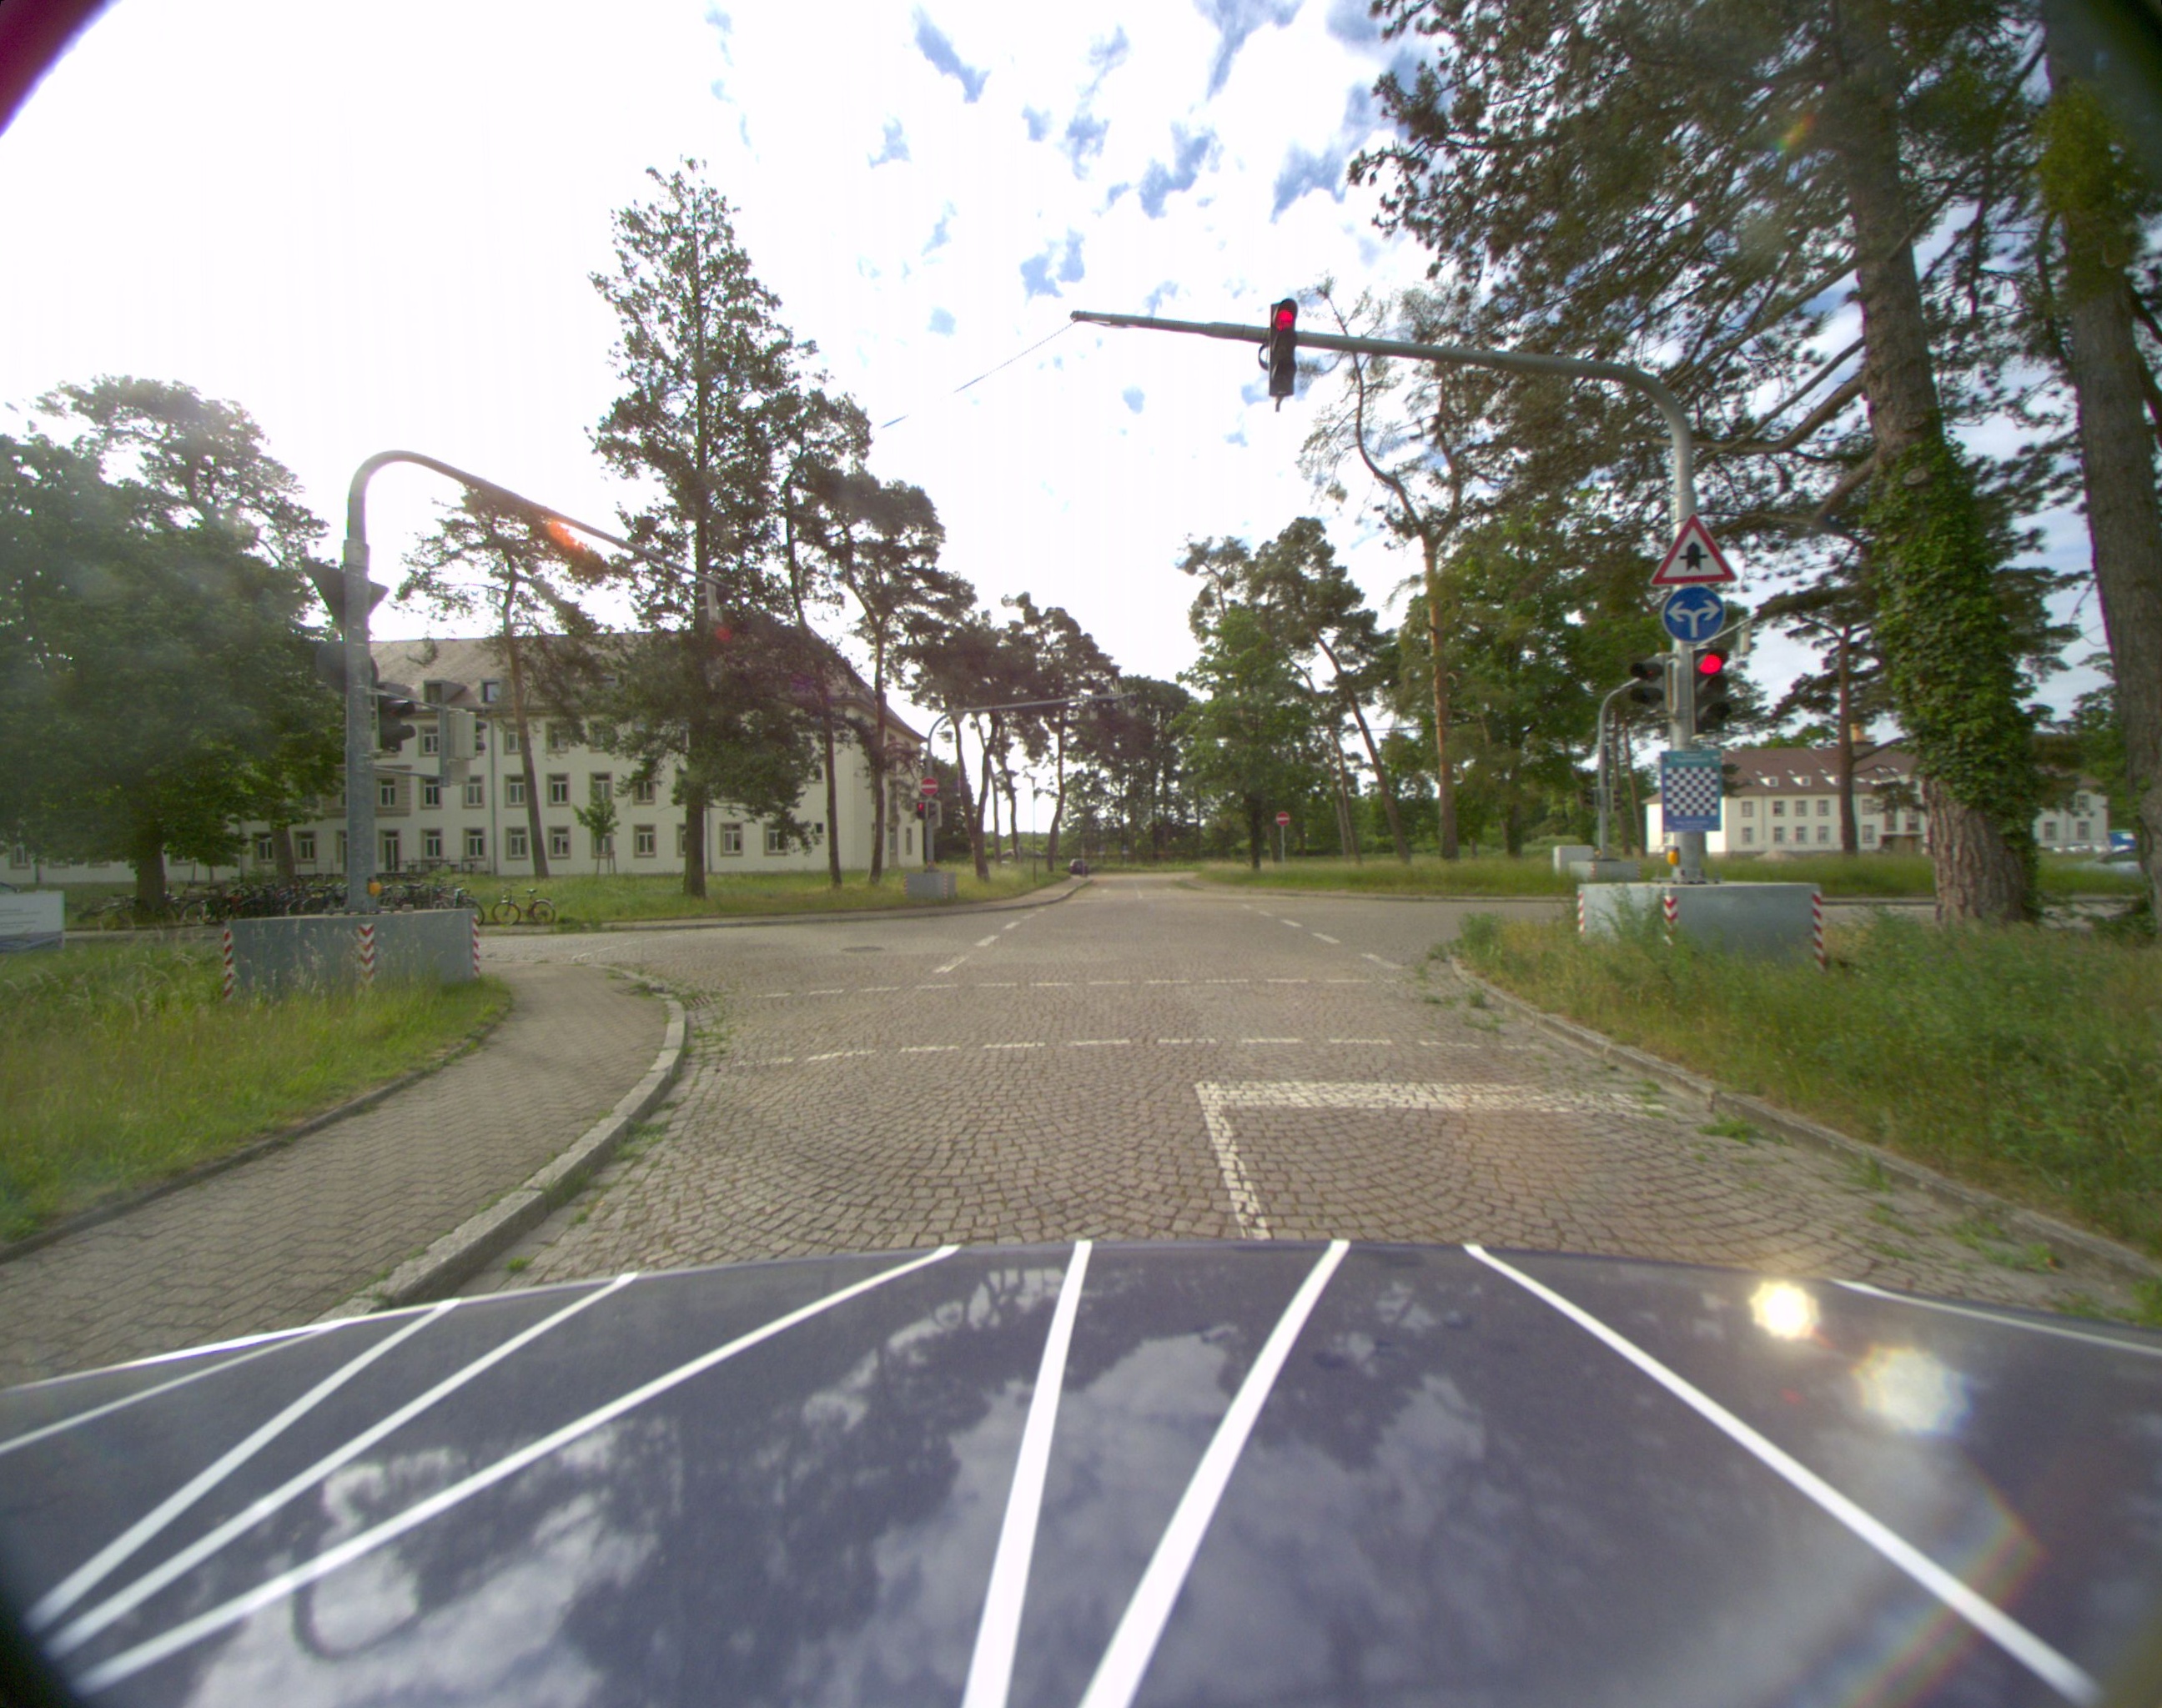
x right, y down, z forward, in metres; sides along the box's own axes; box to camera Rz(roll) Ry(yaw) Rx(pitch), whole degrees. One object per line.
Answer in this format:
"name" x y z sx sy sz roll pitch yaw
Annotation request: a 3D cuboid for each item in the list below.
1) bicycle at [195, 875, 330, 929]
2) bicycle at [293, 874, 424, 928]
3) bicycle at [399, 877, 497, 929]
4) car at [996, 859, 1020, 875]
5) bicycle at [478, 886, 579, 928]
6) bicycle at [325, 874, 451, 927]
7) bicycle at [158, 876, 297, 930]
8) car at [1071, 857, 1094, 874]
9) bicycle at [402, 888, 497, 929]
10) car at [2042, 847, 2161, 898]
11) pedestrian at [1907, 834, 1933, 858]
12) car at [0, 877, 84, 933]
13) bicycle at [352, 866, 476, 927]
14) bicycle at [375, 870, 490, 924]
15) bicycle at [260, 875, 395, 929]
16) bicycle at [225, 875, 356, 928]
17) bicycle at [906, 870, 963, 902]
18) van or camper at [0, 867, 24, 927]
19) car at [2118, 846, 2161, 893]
"bicycle" -23.242 1.326 21.678 0.950 1.363 2.577 -1 0 2
"bicycle" -20.539 1.295 21.726 0.950 1.363 2.812 -1 0 3
"bicycle" -17.621 1.327 21.232 0.873 1.299 2.120 -1 0 3
"car" -7.392 1.288 77.210 1.771 1.524 3.696 -1 0 5
"bicycle" -14.335 1.369 19.742 1.977 0.990 0.904 -1 0 2
"bicycle" -19.985 1.290 22.026 0.950 1.363 2.812 -1 0 3
"bicycle" -24.088 1.341 21.558 0.950 1.363 2.577 -1 0 2
"car" 0.175 1.135 76.030 1.998 1.524 4.001 -1 0 5
"bicycle" -16.427 1.418 19.777 1.976 0.990 0.730 -1 0 8
"car" 31.233 0.523 22.061 1.794 1.410 4.001 -1 0 5
"pedestrian" 76.873 -0.764 69.606 1.055 2.165 1.185 -1 1 4
"car" -32.403 1.505 22.319 1.936 1.611 3.237 -1 -1 3
"bicycle" -19.067 1.171 21.847 0.950 1.574 2.812 -1 0 3
"bicycle" -18.221 1.171 21.454 0.873 1.359 2.628 -1 0 3
"bicycle" -21.432 1.315 21.744 0.950 1.363 2.812 -1 0 3
"bicycle" -22.403 1.306 21.647 0.950 1.363 2.577 -1 0 2
"bicycle" -5.152 1.118 26.780 1.832 1.057 0.646 -1 4 0
"van or camper" -35.704 1.397 22.135 2.238 1.946 5.756 -1 0 -9
"car" 33.817 0.470 21.866 1.795 1.437 4.635 -1 0 4
